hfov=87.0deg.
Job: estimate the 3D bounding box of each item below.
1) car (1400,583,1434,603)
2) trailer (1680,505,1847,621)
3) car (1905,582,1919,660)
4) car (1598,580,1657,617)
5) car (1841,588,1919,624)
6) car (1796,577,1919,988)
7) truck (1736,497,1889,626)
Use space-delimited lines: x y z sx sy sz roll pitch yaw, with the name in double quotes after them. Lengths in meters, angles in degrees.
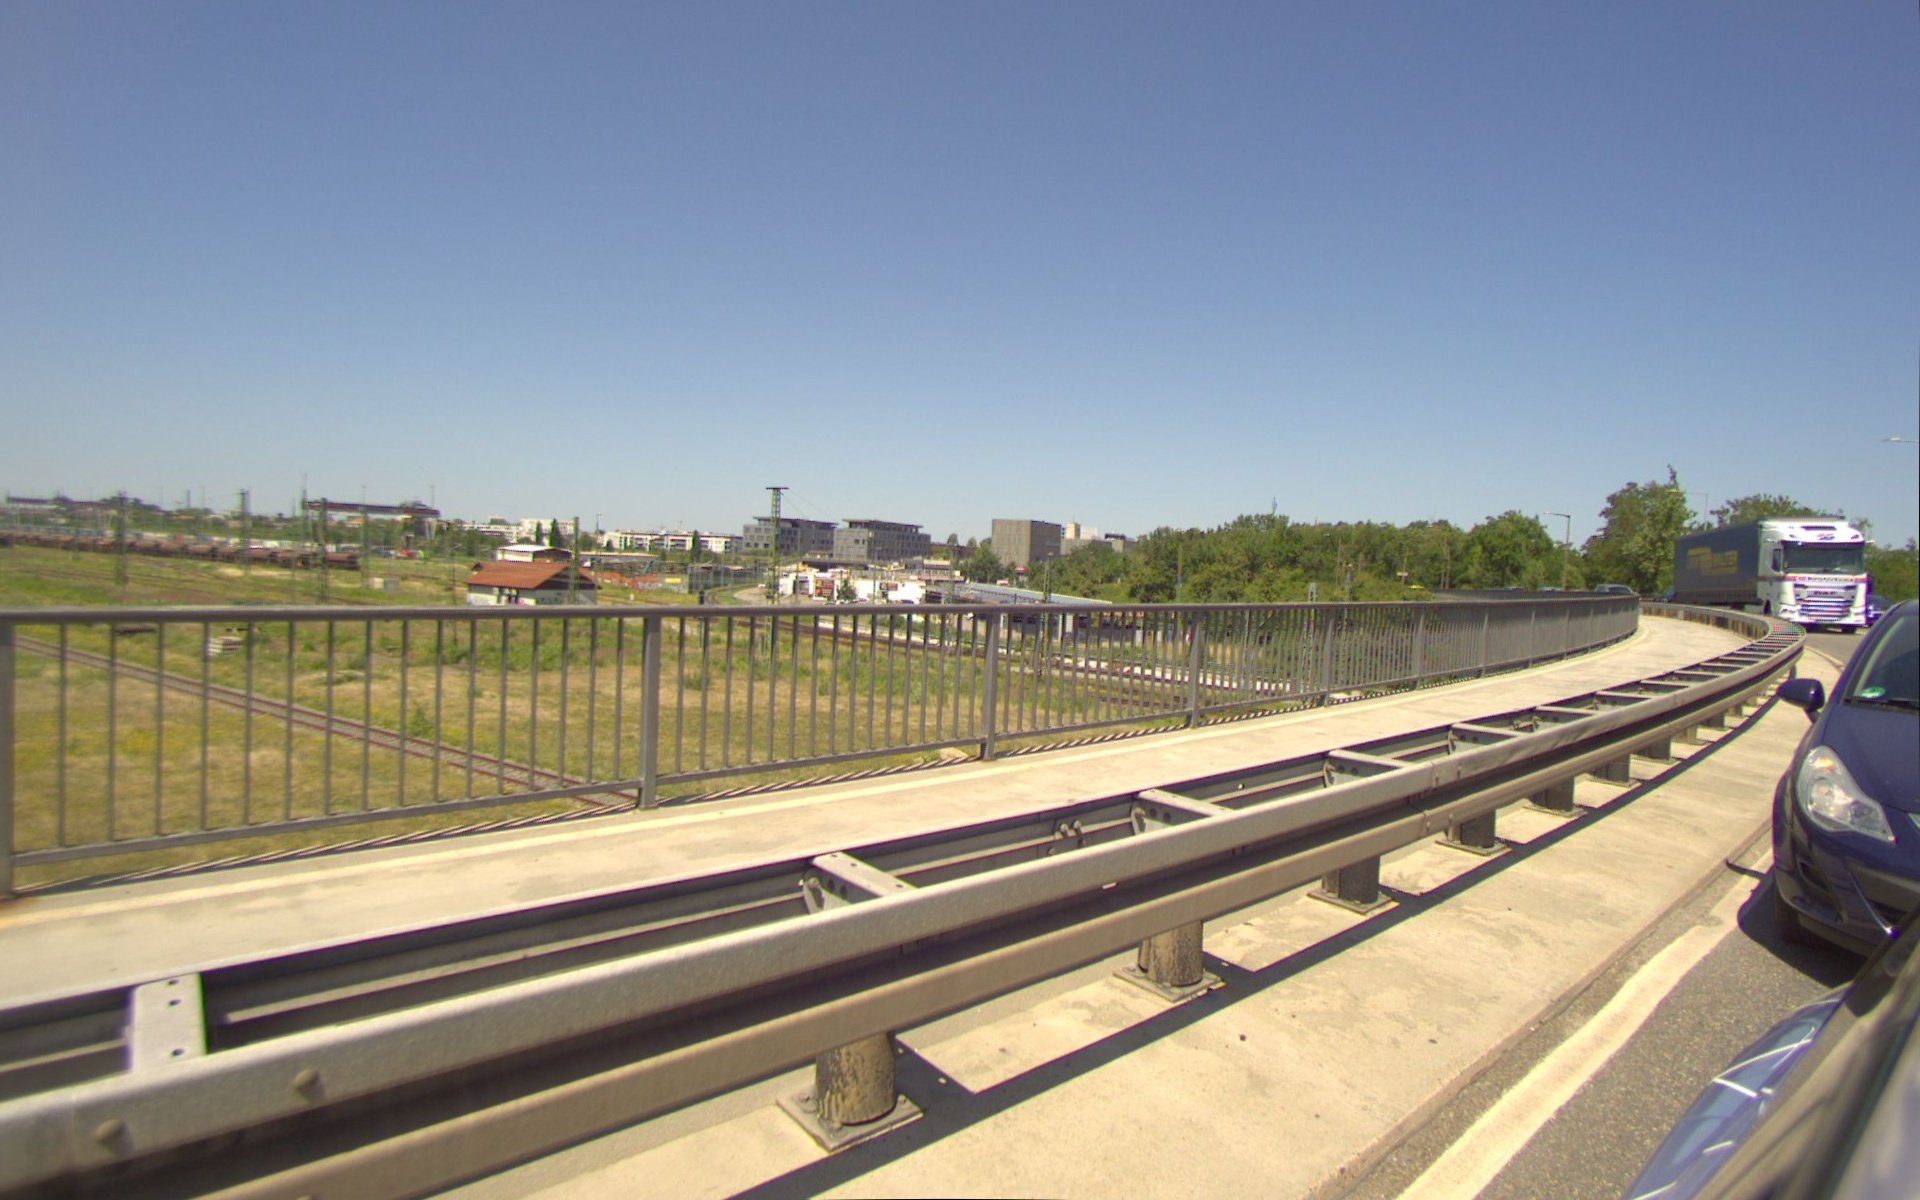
49.399 -0.804 109.534 1.963 2.039 3.999 0 1 1 "car"
34.166 -1.530 43.691 2.673 4.287 12.608 0 1 25 "trailer"
18.530 0.398 18.177 1.785 1.473 4.463 0 0 37 "car"
42.205 -0.066 64.120 1.973 2.040 3.975 -2 -4 17 "car"
36.998 0.202 40.687 1.670 1.324 3.930 1 1 30 "car"
5.128 0.637 4.647 1.641 1.457 3.936 1 1 45 "car"
31.264 -1.357 37.439 2.669 4.281 6.780 0 1 25 "truck"
